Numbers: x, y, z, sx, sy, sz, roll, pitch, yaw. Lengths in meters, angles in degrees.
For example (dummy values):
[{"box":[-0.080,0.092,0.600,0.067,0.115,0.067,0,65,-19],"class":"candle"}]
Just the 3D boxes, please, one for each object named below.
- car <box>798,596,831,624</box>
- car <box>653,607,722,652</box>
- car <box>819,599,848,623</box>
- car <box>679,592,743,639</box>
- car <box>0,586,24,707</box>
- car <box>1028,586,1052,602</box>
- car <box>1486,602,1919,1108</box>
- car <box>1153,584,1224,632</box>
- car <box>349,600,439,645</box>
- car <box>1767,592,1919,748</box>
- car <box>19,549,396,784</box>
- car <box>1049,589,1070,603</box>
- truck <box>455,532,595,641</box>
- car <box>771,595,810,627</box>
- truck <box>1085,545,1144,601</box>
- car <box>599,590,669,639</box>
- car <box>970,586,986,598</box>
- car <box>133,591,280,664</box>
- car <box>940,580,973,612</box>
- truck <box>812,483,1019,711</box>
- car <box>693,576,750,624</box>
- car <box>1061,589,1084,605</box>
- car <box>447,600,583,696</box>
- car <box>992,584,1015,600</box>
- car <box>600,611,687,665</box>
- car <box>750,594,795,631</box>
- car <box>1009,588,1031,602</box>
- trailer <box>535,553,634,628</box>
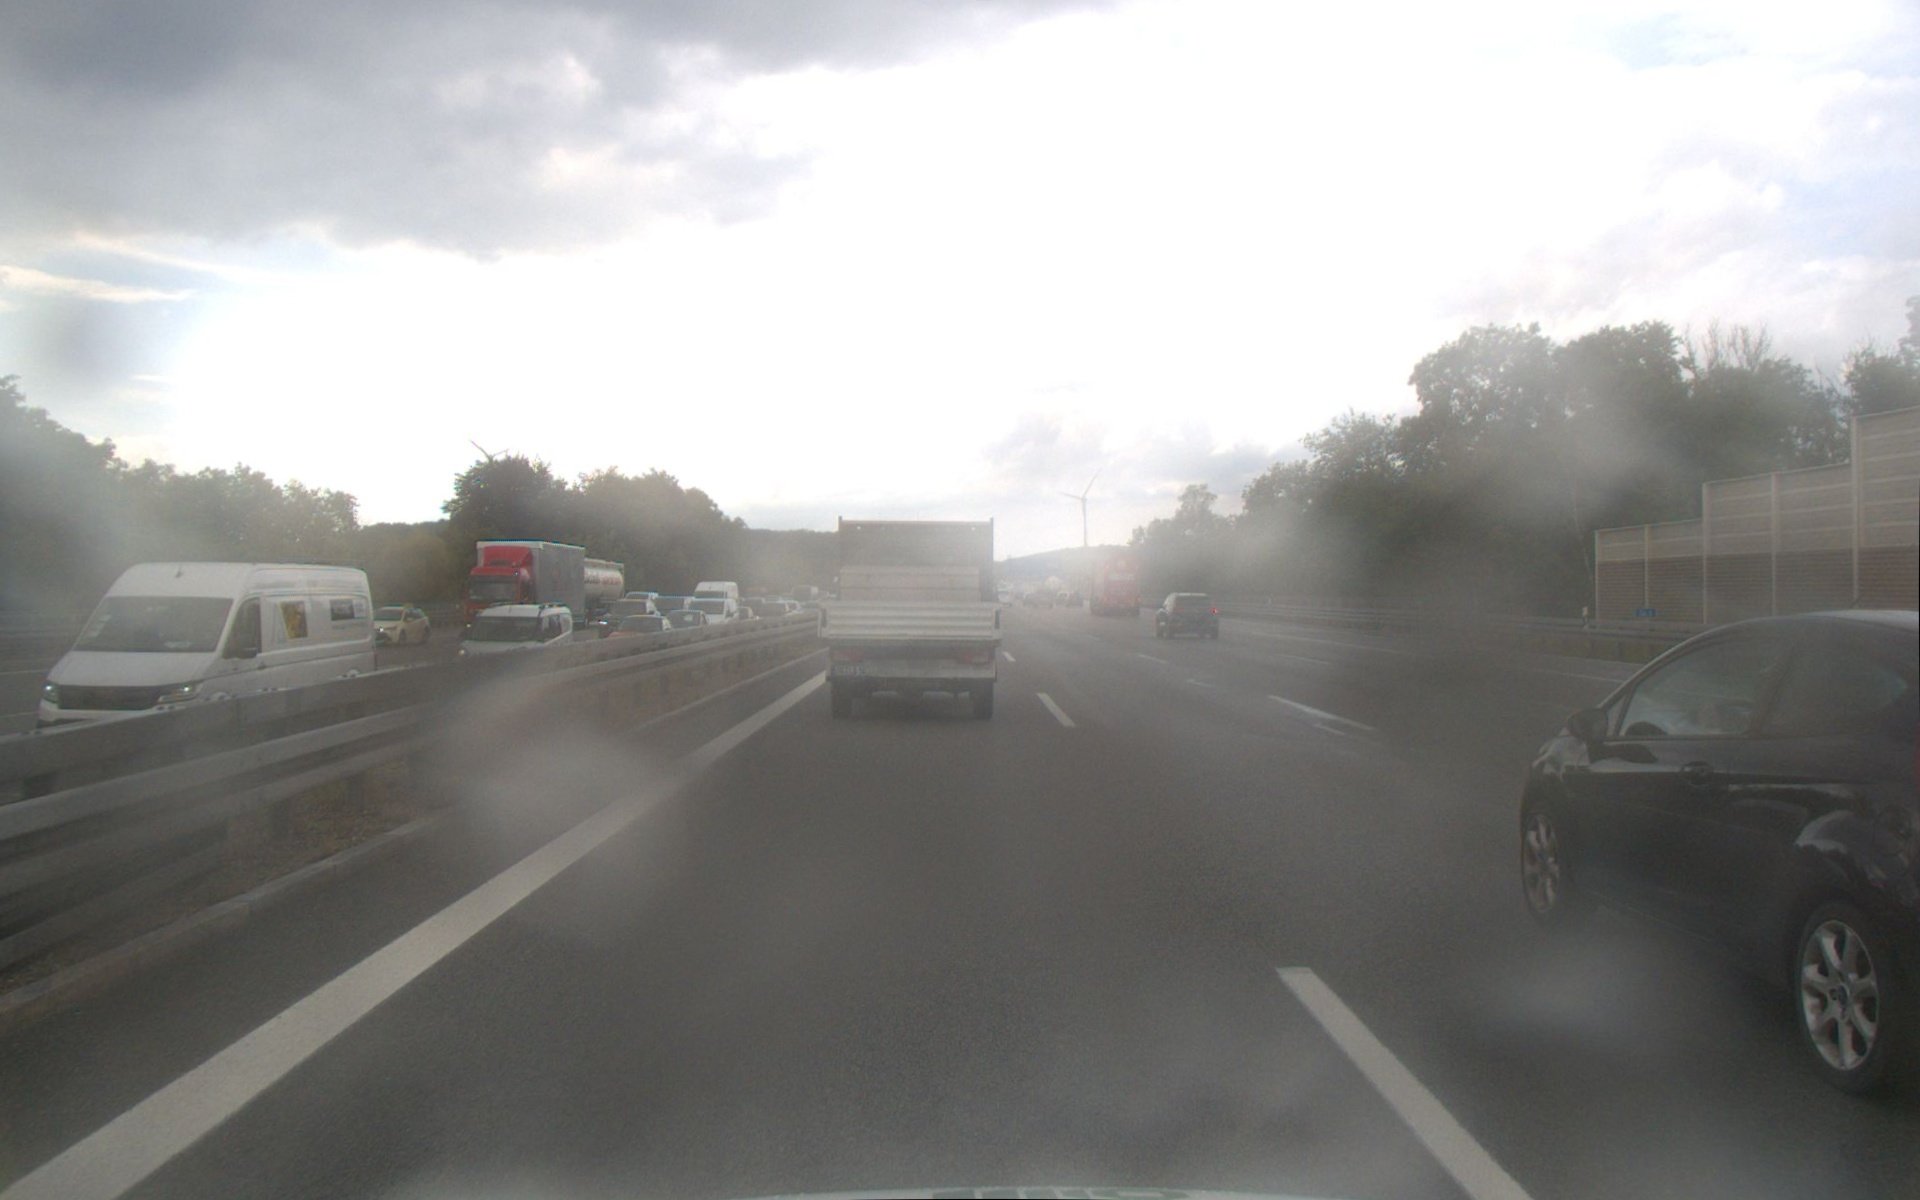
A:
[{"box":[-9.937,0.690,113.054,1.855,1.832,4.596,-1,0,0],"class":"car"},{"box":[-9.987,1.067,60.940,1.855,1.514,4.477,-1,0,-1],"class":"car"},{"box":[-9.875,0.827,129.165,1.855,1.832,4.596,-1,0,0],"class":"car"},{"box":[-10.269,0.598,68.616,1.855,1.832,5.841,-1,0,-1],"class":"car"},{"box":[-17.781,0.842,27.628,1.781,2.114,4.477,-1,0,-1],"class":"car"},{"box":[7.830,-0.592,162.819,1.929,1.588,4.430,-1,0,-3],"class":"car"},{"box":[3.559,0.741,6.301,1.682,1.442,4.277,1,0,-1],"class":"car"},{"box":[7.907,0.265,57.526,1.844,1.569,4.433,-1,0,0],"class":"car"},{"box":[-21.816,0.834,63.946,1.855,1.621,4.902,-1,0,-1],"class":"car"},{"box":[9.975,0.657,16.372,1.910,1.443,4.232,0,0,0],"class":"car"},{"box":[-10.064,0.761,23.043,1.983,2.725,7.310,-1,0,-1],"class":"car"},{"box":[11.933,-0.470,198.331,1.929,1.588,4.430,-1,0,-3],"class":"car"},{"box":[-18.264,-0.568,70.442,2.741,4.184,12.294,-1,0,0],"class":"truck"},{"box":[-9.978,0.632,97.650,1.855,1.832,4.595,-1,0,-1],"class":"car"},{"box":[10.835,-1.948,117.285,3.087,3.664,12.701,1,1,1],"class":"truck"},{"box":[-13.861,0.580,70.587,1.855,1.996,5.587,-1,0,0],"class":"car"},{"box":[2.453,-1.109,226.887,1.929,1.588,4.431,-1,1,-3],"class":"car"},{"box":[-21.443,0.731,47.322,1.855,1.946,5.138,-1,0,0],"class":"car"},{"box":[-0.220,-0.231,91.311,1.683,1.652,4.277,0,2,-2],"class":"car"},{"box":[-0.596,-0.004,21.691,2.260,2.482,7.145,0,-1,-2],"class":"truck"},{"box":[-13.871,-0.009,96.679,2.083,2.682,7.610,-1,0,1],"class":"car"},{"box":[11.880,-0.313,175.313,1.929,1.588,4.430,-1,0,-3],"class":"car"},{"box":[-10.139,1.031,38.078,1.781,1.986,5.222,-1,0,-1],"class":"car"},{"box":[4.411,-0.783,168.916,1.929,1.588,4.430,-1,0,-3],"class":"car"},{"box":[-9.566,1.116,50.286,1.855,1.486,4.477,-1,0,-1],"class":"car"},{"box":[-9.933,0.630,88.072,1.855,1.832,5.569,-1,0,-1],"class":"car"},{"box":[6.711,-0.589,185.647,1.929,1.588,4.429,-1,0,-4],"class":"car"},{"box":[-21.924,-0.571,97.410,2.946,4.102,13.137,-1,0,-1],"class":"trailer"}]
